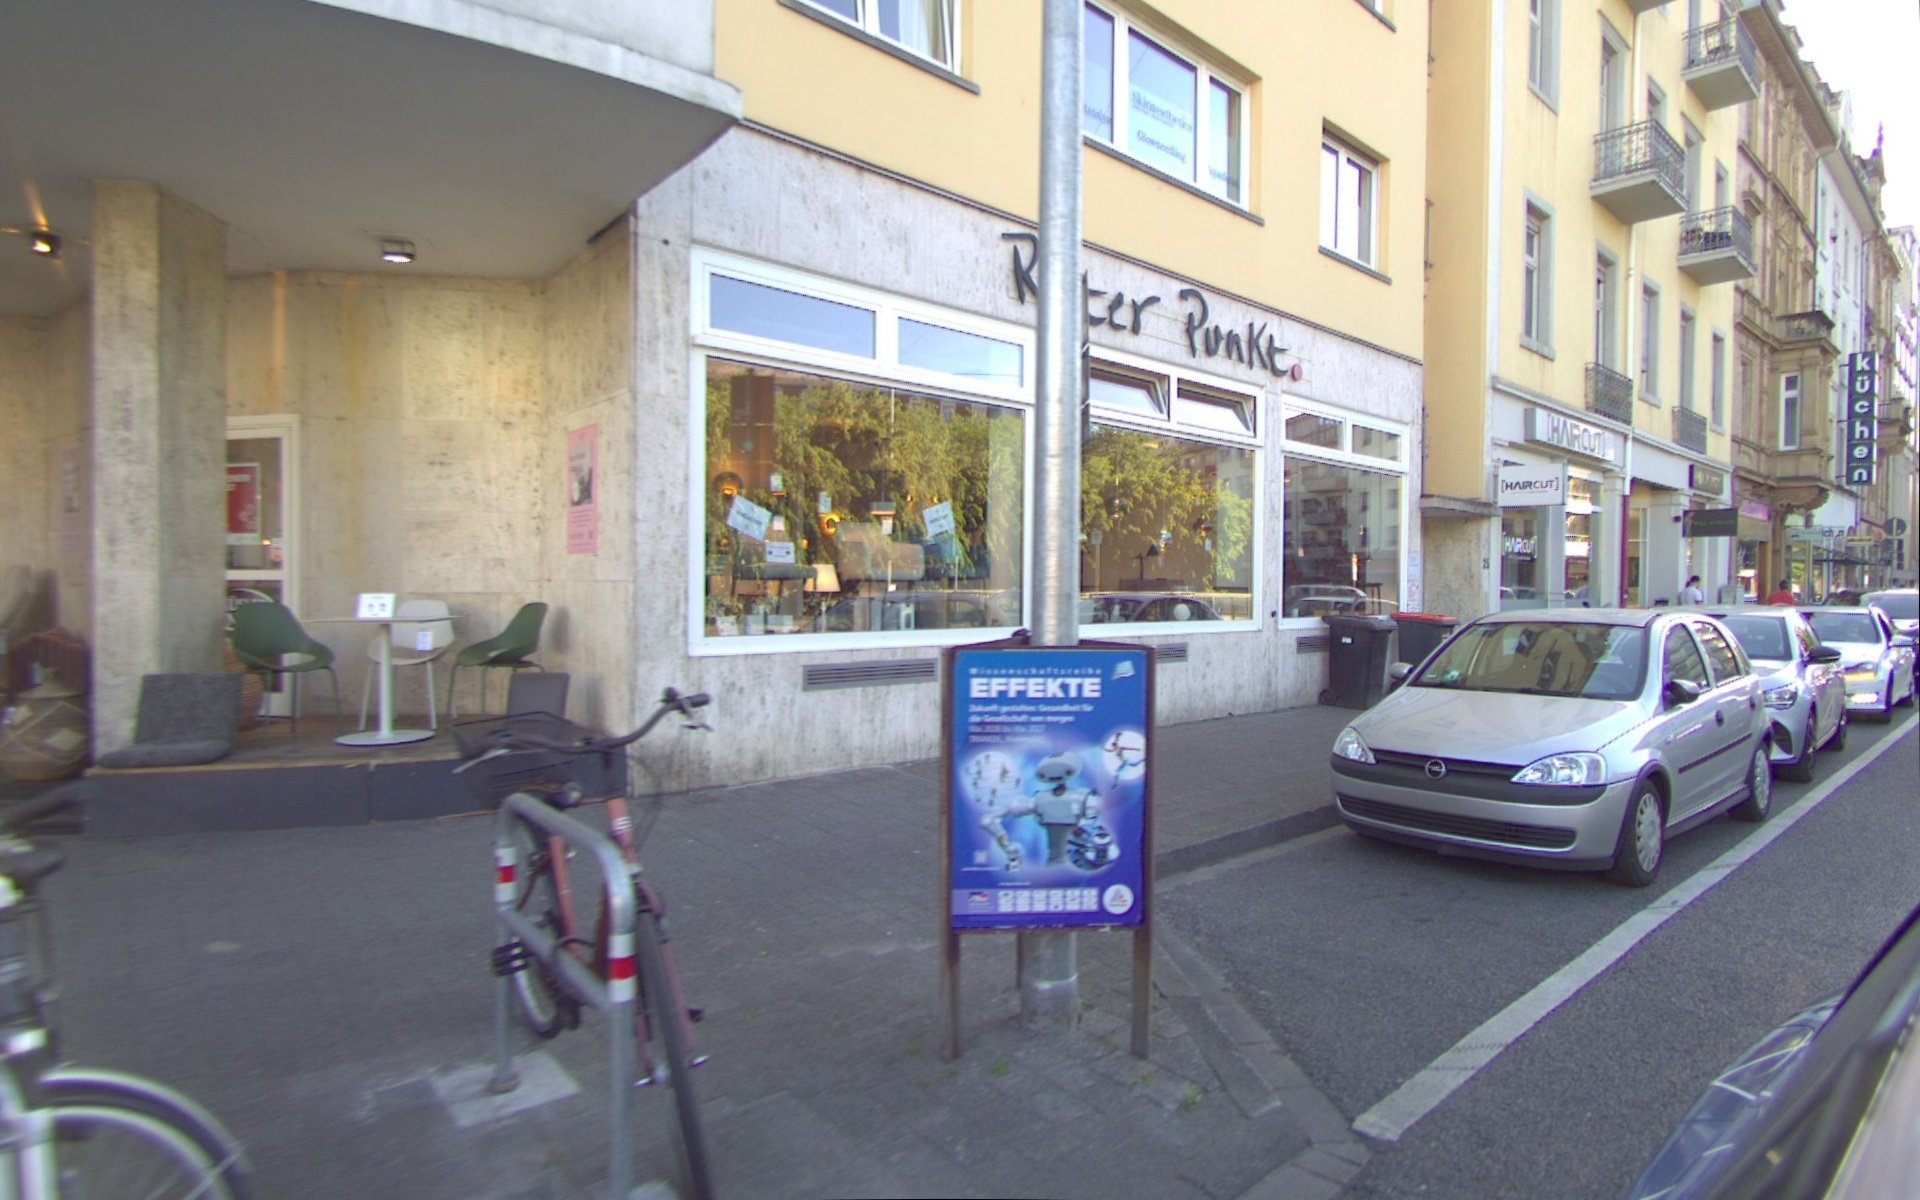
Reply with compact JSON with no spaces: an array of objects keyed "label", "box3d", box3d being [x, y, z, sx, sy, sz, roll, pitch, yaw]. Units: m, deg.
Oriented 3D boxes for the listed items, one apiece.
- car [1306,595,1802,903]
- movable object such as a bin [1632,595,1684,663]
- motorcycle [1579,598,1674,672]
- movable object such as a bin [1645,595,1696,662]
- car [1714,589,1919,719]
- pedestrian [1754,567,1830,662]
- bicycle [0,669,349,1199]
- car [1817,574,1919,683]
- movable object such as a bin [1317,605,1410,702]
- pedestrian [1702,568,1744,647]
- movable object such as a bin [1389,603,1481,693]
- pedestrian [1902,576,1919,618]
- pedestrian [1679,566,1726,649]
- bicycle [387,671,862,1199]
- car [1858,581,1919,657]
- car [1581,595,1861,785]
[{"label":"car","box3d":[3.889,0.680,6.410,3.578,1.399,1.616,0,0,-40]},{"label":"movable object such as a bin","box3d":[12.959,0.528,18.795,0.633,1.222,0.647,0,0,-41]},{"label":"motorcycle","box3d":[11.748,0.576,17.809,2.208,1.179,0.773,0,3,-41]},{"label":"movable object such as a bin","box3d":[13.468,0.527,19.185,0.633,1.222,0.647,0,0,-41]},{"label":"car","box3d":[11.838,0.599,13.720,4.520,1.480,1.756,0,1,-42]},{"label":"pedestrian","box3d":[16.783,0.268,20.425,0.990,1.805,0.867,0,5,-38]},{"label":"bicycle","box3d":[-1.692,0.879,1.949,0.775,1.283,1.728,0,2,-35]},{"label":"car","box3d":[16.541,0.428,17.840,1.853,1.719,4.623,1,1,45]},{"label":"movable object such as a bin","box3d":[4.642,0.592,11.656,0.591,1.041,0.812,0,1,-40]},{"label":"pedestrian","box3d":[16.145,0.142,21.411,0.631,1.637,0.572,0,0,-40]},{"label":"movable object such as a bin","box3d":[6.023,0.588,12.831,0.878,1.067,0.752,0,1,-41]},{"label":"pedestrian","box3d":[37.657,-0.130,39.835,0.750,1.637,0.794,0,0,-43]},{"label":"pedestrian","box3d":[14.977,0.135,20.412,0.689,1.637,0.641,0,0,-42]},{"label":"bicycle","box3d":[-1.039,0.902,2.714,0.678,1.207,1.893,1,2,-35]},{"label":"car","box3d":[21.201,0.393,22.337,2.965,1.587,1.695,0,1,-41]},{"label":"car","box3d":[7.279,0.668,9.549,1.650,1.415,3.646,1,1,44]}]
